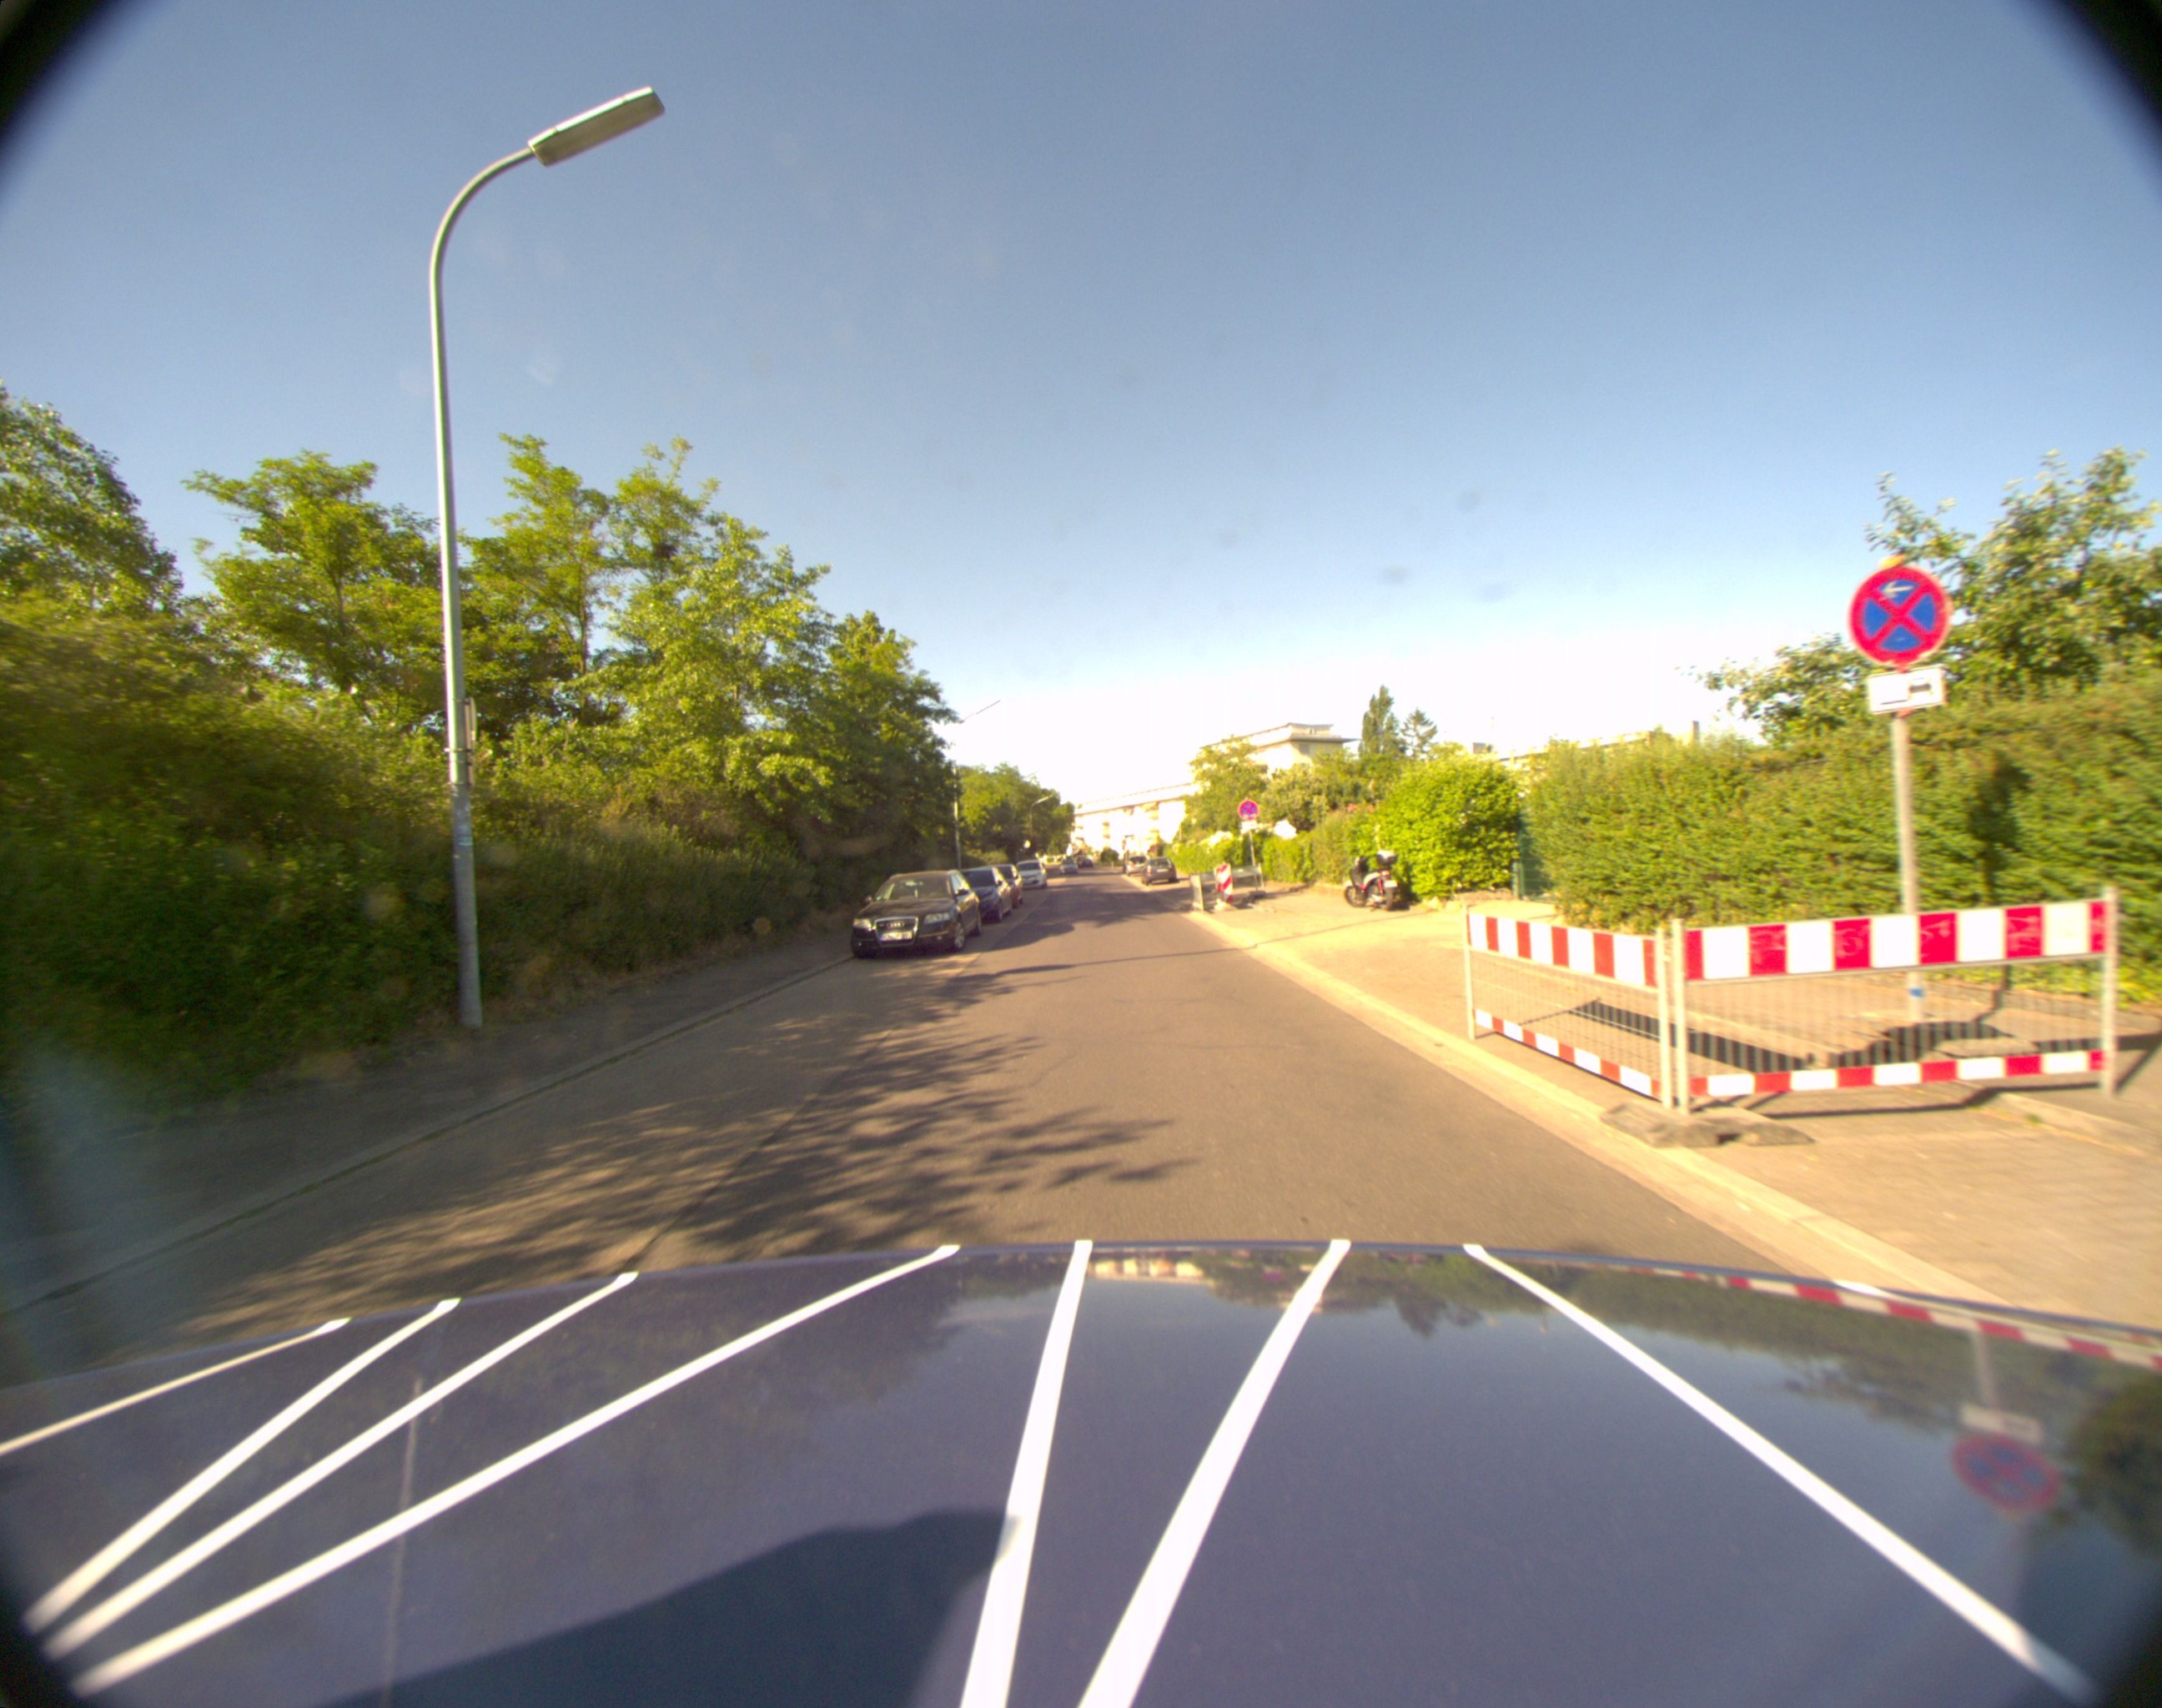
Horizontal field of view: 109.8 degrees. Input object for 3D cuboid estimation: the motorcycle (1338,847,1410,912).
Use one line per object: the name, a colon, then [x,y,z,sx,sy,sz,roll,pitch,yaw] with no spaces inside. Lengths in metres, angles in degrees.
motorcycle: [6.194,0.496,16.203,0.568,1.261,2.090,-4,1,-3]

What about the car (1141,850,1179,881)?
car: [4.274,0.591,41.675,1.647,1.547,4.417,-2,0,1]

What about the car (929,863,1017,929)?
car: [-2.894,1.084,21.265,1.659,1.436,4.656,-5,0,0]

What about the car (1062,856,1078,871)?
car: [-1.114,0.940,75.712,1.597,1.417,4.170,0,0,-1]

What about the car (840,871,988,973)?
car: [-3.018,1.162,14.758,1.758,1.405,4.655,-5,0,0]

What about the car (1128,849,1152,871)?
car: [4.592,0.443,59.462,1.647,1.590,4.312,-4,0,3]

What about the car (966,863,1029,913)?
car: [-2.892,1.145,27.018,1.659,1.478,3.838,-5,0,0]

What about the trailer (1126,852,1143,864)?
trailer: [4.911,0.404,70.056,1.547,0.948,2.647,-4,1,3]

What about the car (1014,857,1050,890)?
car: [-2.640,1.038,41.818,1.559,1.529,3.555,-5,0,1]

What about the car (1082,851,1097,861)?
car: [1.300,0.354,118.051,1.732,1.455,4.680,-2,-1,-5]

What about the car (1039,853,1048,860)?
car: [-11.258,0.704,228.390,2.008,1.837,4.612,-5,1,-9]
